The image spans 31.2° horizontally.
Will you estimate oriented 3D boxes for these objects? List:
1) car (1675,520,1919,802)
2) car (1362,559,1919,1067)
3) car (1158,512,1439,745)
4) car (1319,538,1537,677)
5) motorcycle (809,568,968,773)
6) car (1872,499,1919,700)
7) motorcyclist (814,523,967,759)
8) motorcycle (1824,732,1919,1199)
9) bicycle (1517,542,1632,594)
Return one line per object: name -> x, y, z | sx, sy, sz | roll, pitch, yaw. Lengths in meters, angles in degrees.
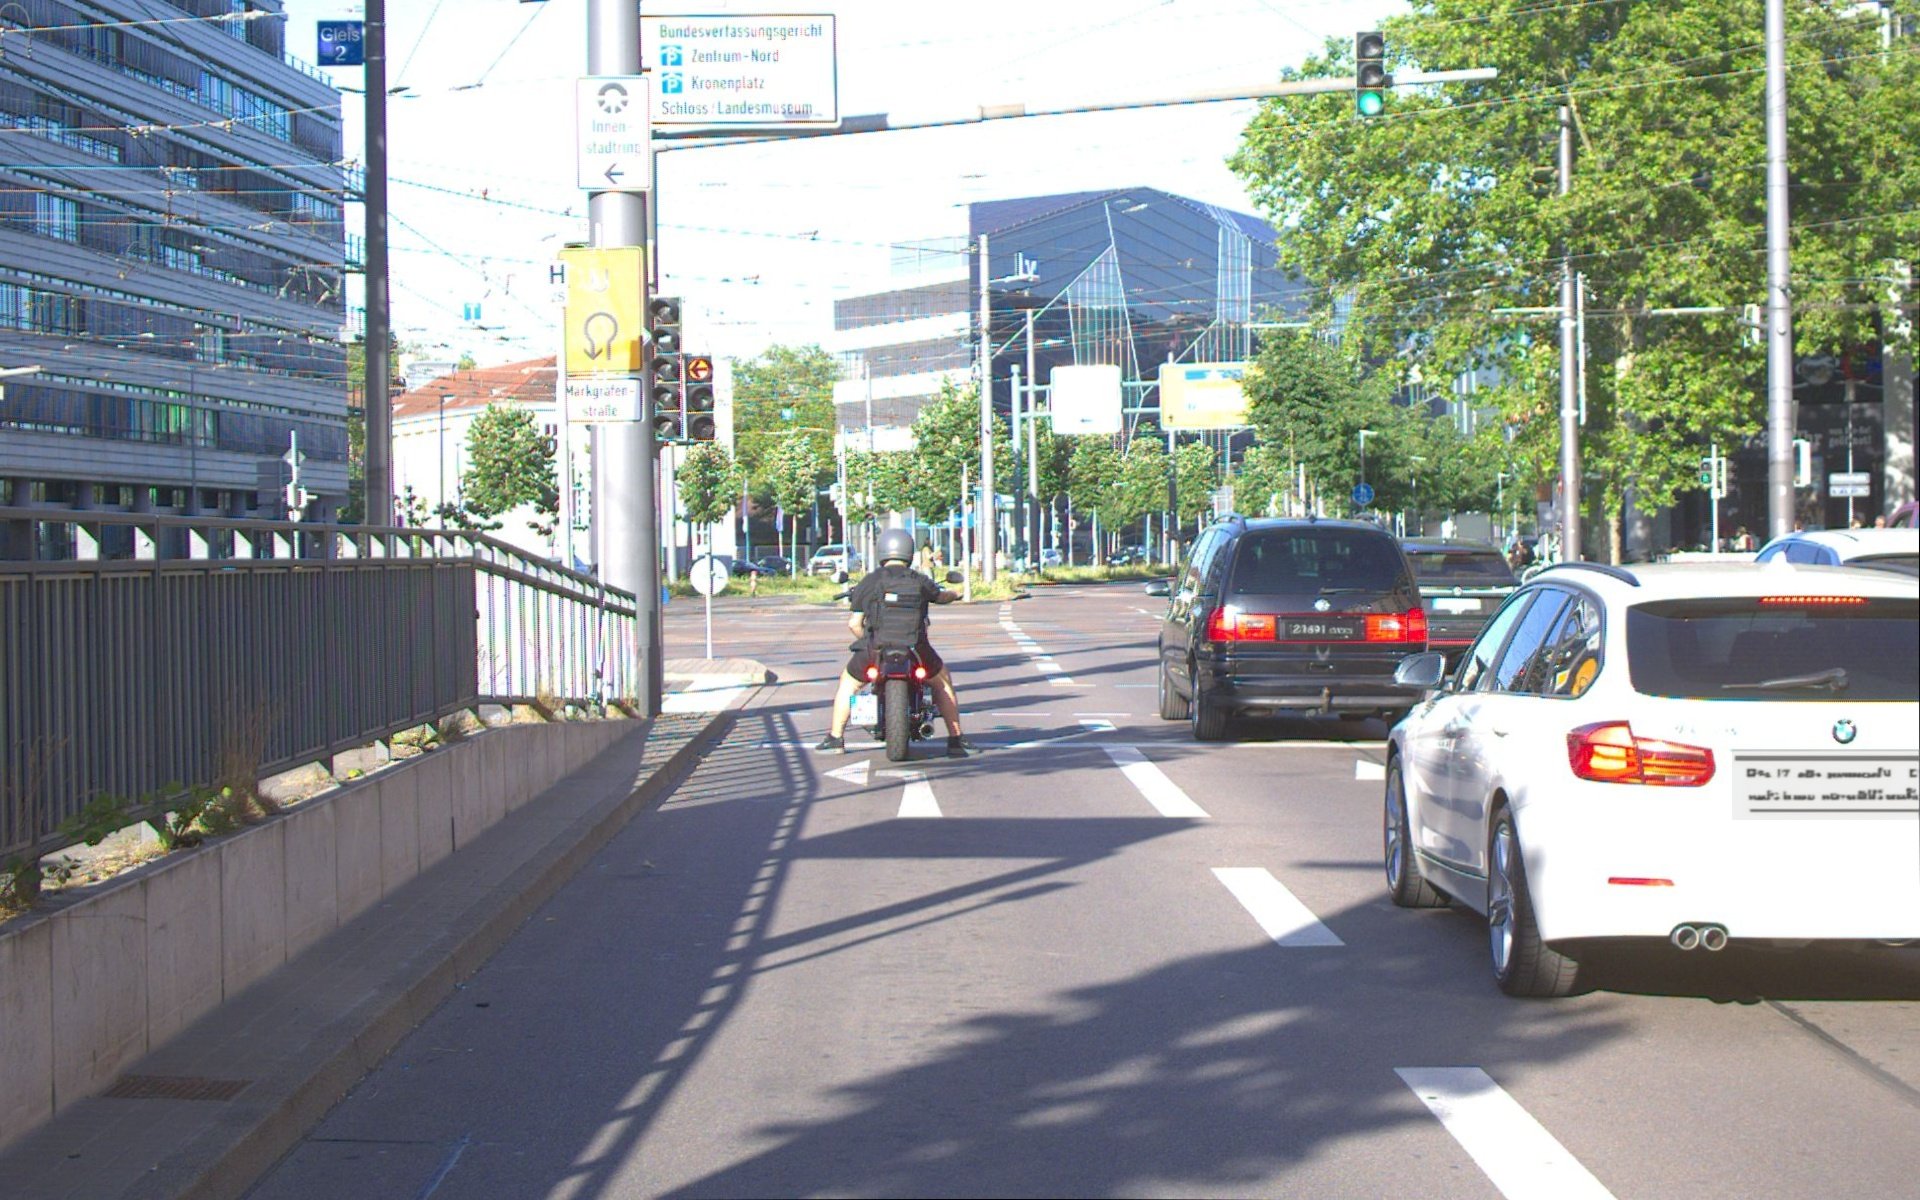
car -> 6.006, 0.311, 22.114 | 1.851, 1.634, 4.379 | 0, 1, -1
car -> 2.591, 0.620, 12.535 | 1.692, 1.491, 4.409 | 1, 1, 0
car -> 2.586, 0.178, 27.114 | 1.798, 1.699, 4.063 | 0, 1, 0
car -> 5.293, 0.043, 39.384 | 1.851, 1.492, 4.379 | 0, 1, -1
motorcycle -> -0.473, 0.447, 23.962 | 1.019, 1.307, 2.915 | 1, 1, 0
car -> 10.235, -0.017, 33.107 | 1.860, 1.954, 4.000 | -1, 1, 1
motorcyclist -> -0.476, 0.271, 24.079 | 1.019, 1.598, 1.148 | 1, 1, 0
motorcycle -> 2.559, 0.868, 7.081 | 0.837, 1.058, 2.553 | -1, 1, -2
bicycle -> 14.934, -0.777, 83.593 | 2.693, 1.240, 0.527 | 0, 1, 23
